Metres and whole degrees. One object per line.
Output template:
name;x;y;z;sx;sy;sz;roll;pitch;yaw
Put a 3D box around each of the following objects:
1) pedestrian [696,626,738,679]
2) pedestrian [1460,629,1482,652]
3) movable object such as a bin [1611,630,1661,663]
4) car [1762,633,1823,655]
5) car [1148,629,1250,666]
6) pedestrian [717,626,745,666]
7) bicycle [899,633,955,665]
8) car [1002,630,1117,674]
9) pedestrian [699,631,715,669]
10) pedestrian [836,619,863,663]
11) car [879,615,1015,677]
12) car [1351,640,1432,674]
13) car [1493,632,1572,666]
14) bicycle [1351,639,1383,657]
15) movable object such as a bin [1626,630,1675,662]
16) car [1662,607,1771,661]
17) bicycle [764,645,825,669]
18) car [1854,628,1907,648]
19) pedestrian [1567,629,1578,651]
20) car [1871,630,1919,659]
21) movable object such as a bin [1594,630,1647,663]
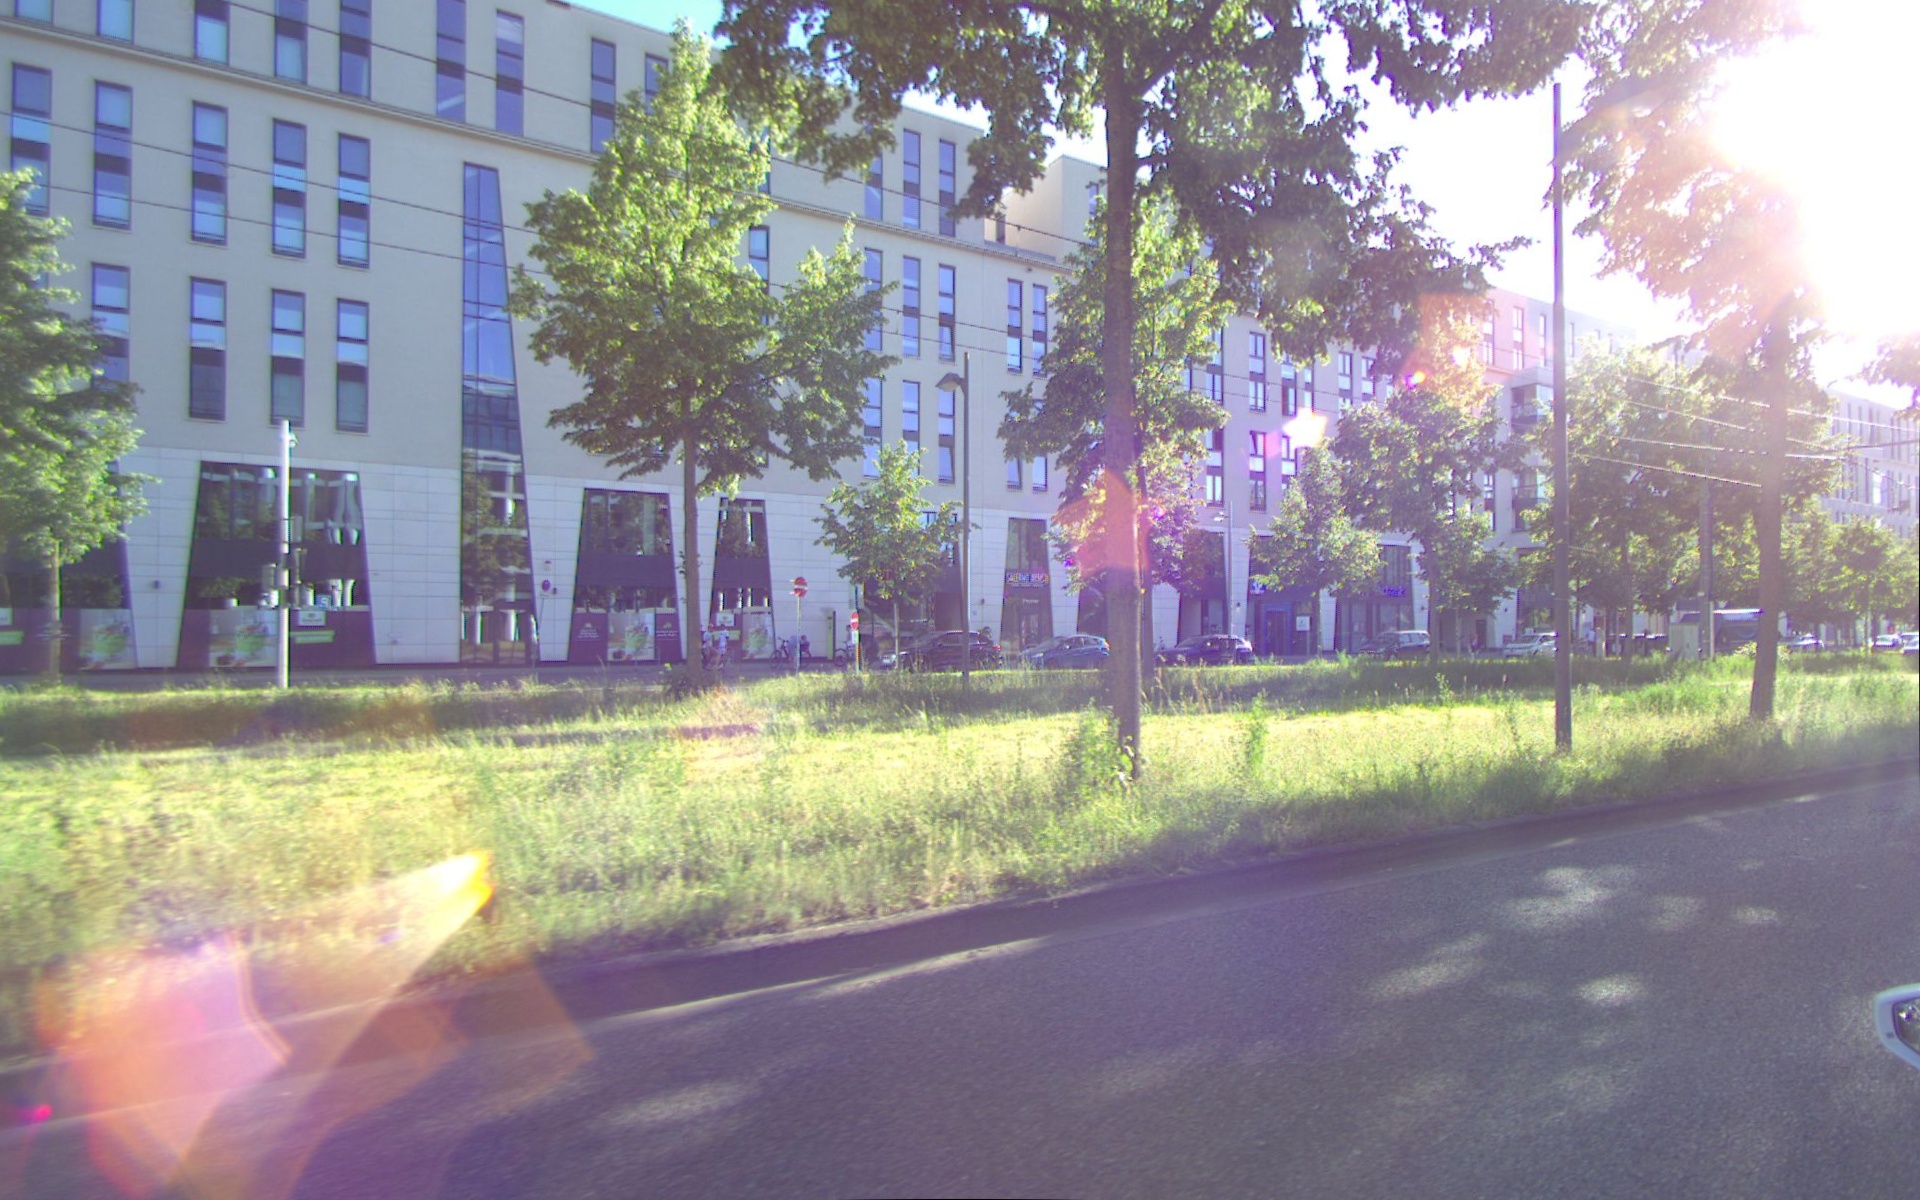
pedestrian;-8.343;1.790;34.491;1.209;1.766;0.838;2;0;-30
pedestrian;33.807;2.685;66.445;1.019;1.487;0.939;2;0;-39
movable object such as a bin;40.128;2.733;59.638;1.539;1.818;1.959;2;0;-32
car;59.651;3.131;71.980;4.873;1.460;1.982;2;0;-33
car;10.004;1.947;41.869;4.292;1.432;1.713;1;-2;-34
pedestrian;-9.209;1.833;40.342;0.951;1.557;0.654;2;0;-27
bicycle;-1.407;2.099;42.844;2.303;1.342;0.660;2;0;-25
car;3.797;1.941;38.205;3.953;1.592;1.984;1;-1;-30
pedestrian;-9.968;1.959;39.642;0.453;1.479;0.600;2;0;-27
pedestrian;-4.748;1.773;43.262;0.951;1.880;0.654;2;0;-27
car;-0.430;1.596;35.532;4.506;2.040;1.982;1;-2;-33
car;20.648;2.690;48.001;4.227;1.499;1.549;1;-2;-34
car;31.340;2.666;54.968;4.292;1.752;1.982;2;0;-33
bicycle;23.723;2.811;58.550;1.823;1.002;0.615;2;0;-26
movable object such as a bin;41.639;2.781;60.583;1.539;1.818;1.959;2;0;-32
car;36.265;1.615;48.095;5.970;2.413;2.488;2;0;-36
bicycle;-6.580;2.263;39.862;2.300;0.859;0.660;2;0;-21
car;73.540;3.068;80.262;4.728;1.460;1.982;2;0;-33
pedestrian;44.662;2.914;73.190;0.511;1.570;0.502;2;0;12
car;50.999;2.392;53.922;4.407;1.460;1.982;2;0;-32
movable object such as a bin;38.448;2.680;58.483;1.989;1.818;1.959;2;0;-33
